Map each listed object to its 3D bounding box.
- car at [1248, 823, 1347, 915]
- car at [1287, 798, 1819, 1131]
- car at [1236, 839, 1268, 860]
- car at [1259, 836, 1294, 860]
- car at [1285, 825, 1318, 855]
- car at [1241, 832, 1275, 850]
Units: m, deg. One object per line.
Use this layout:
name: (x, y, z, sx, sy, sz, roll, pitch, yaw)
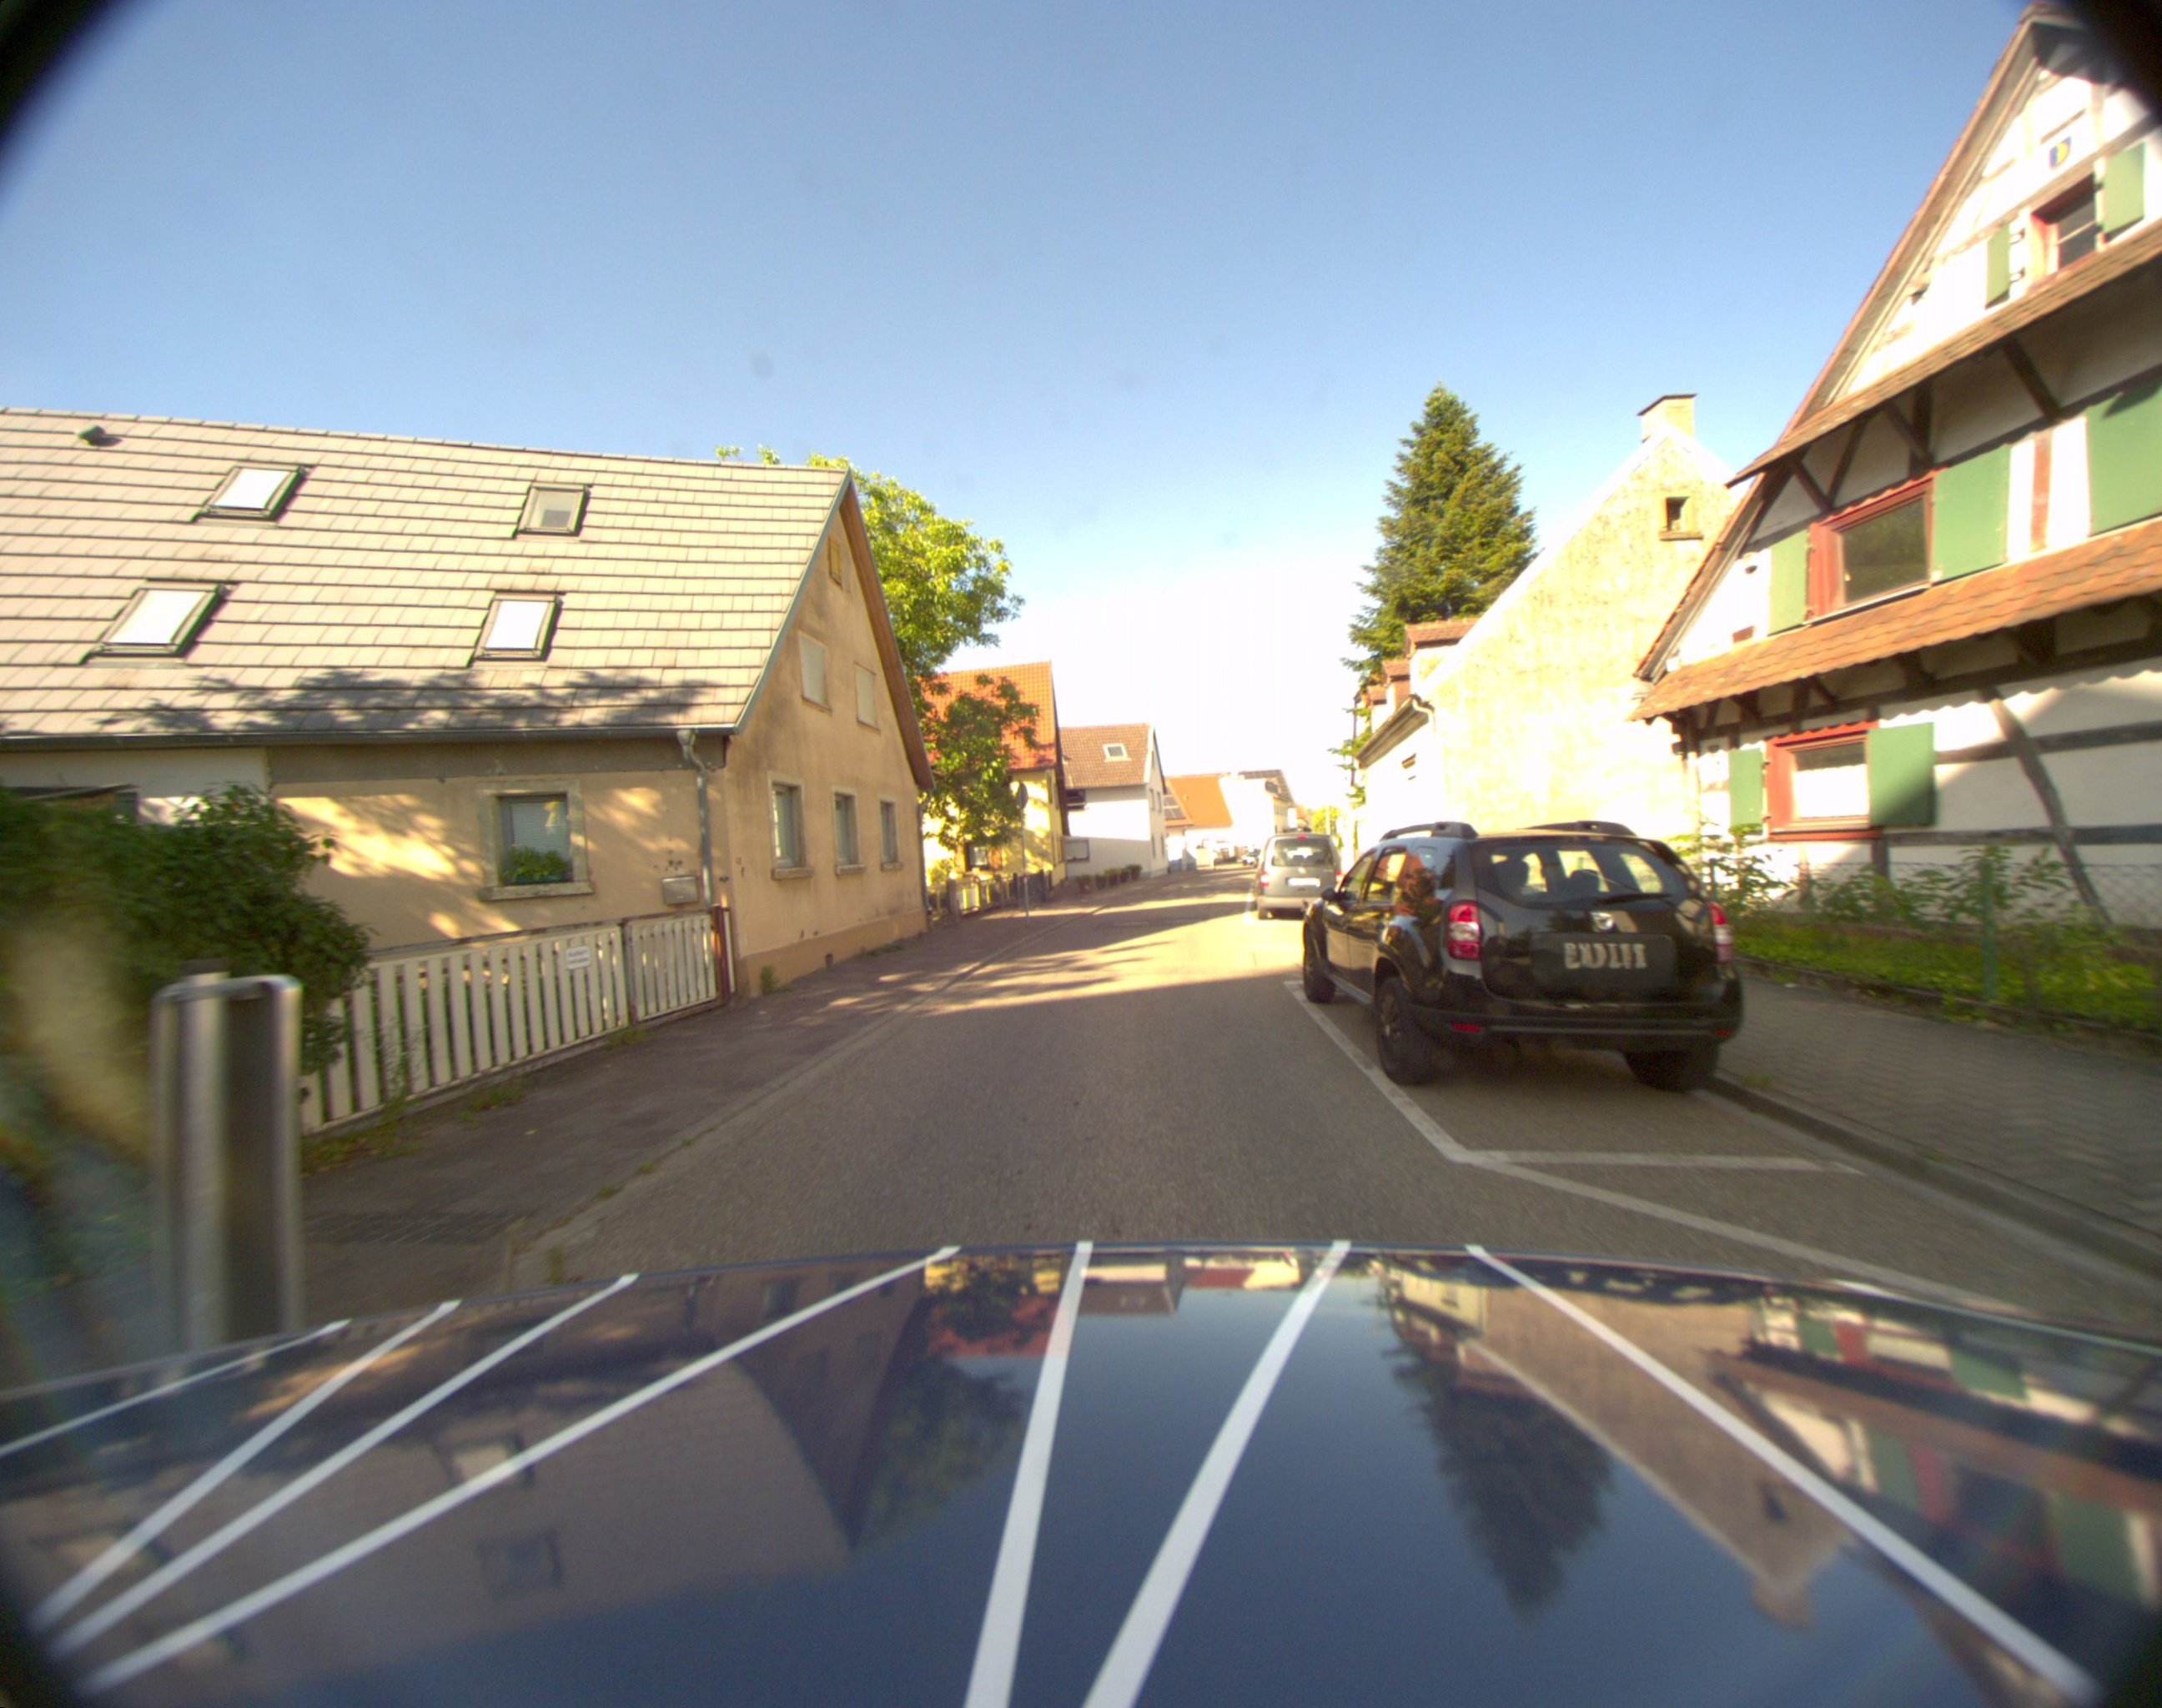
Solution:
car: (4.721, 0.280, 17.118, 1.835, 1.779, 4.356, -1, 1, 12)
car: (2.946, 0.518, 6.018, 1.836, 1.661, 4.353, -1, 1, 6)
car: (14.104, -0.402, 62.568, 1.805, 1.469, 4.349, -6, 0, 21)
car: (14.144, -0.430, 54.766, 1.890, 1.581, 4.006, -2, 1, 22)
car: (17.775, -1.122, 61.092, 2.057, 2.233, 4.866, -2, 1, 22)
car: (22.203, -1.662, 95.318, 3.992, 2.002, 1.843, -3, 0, 16)
